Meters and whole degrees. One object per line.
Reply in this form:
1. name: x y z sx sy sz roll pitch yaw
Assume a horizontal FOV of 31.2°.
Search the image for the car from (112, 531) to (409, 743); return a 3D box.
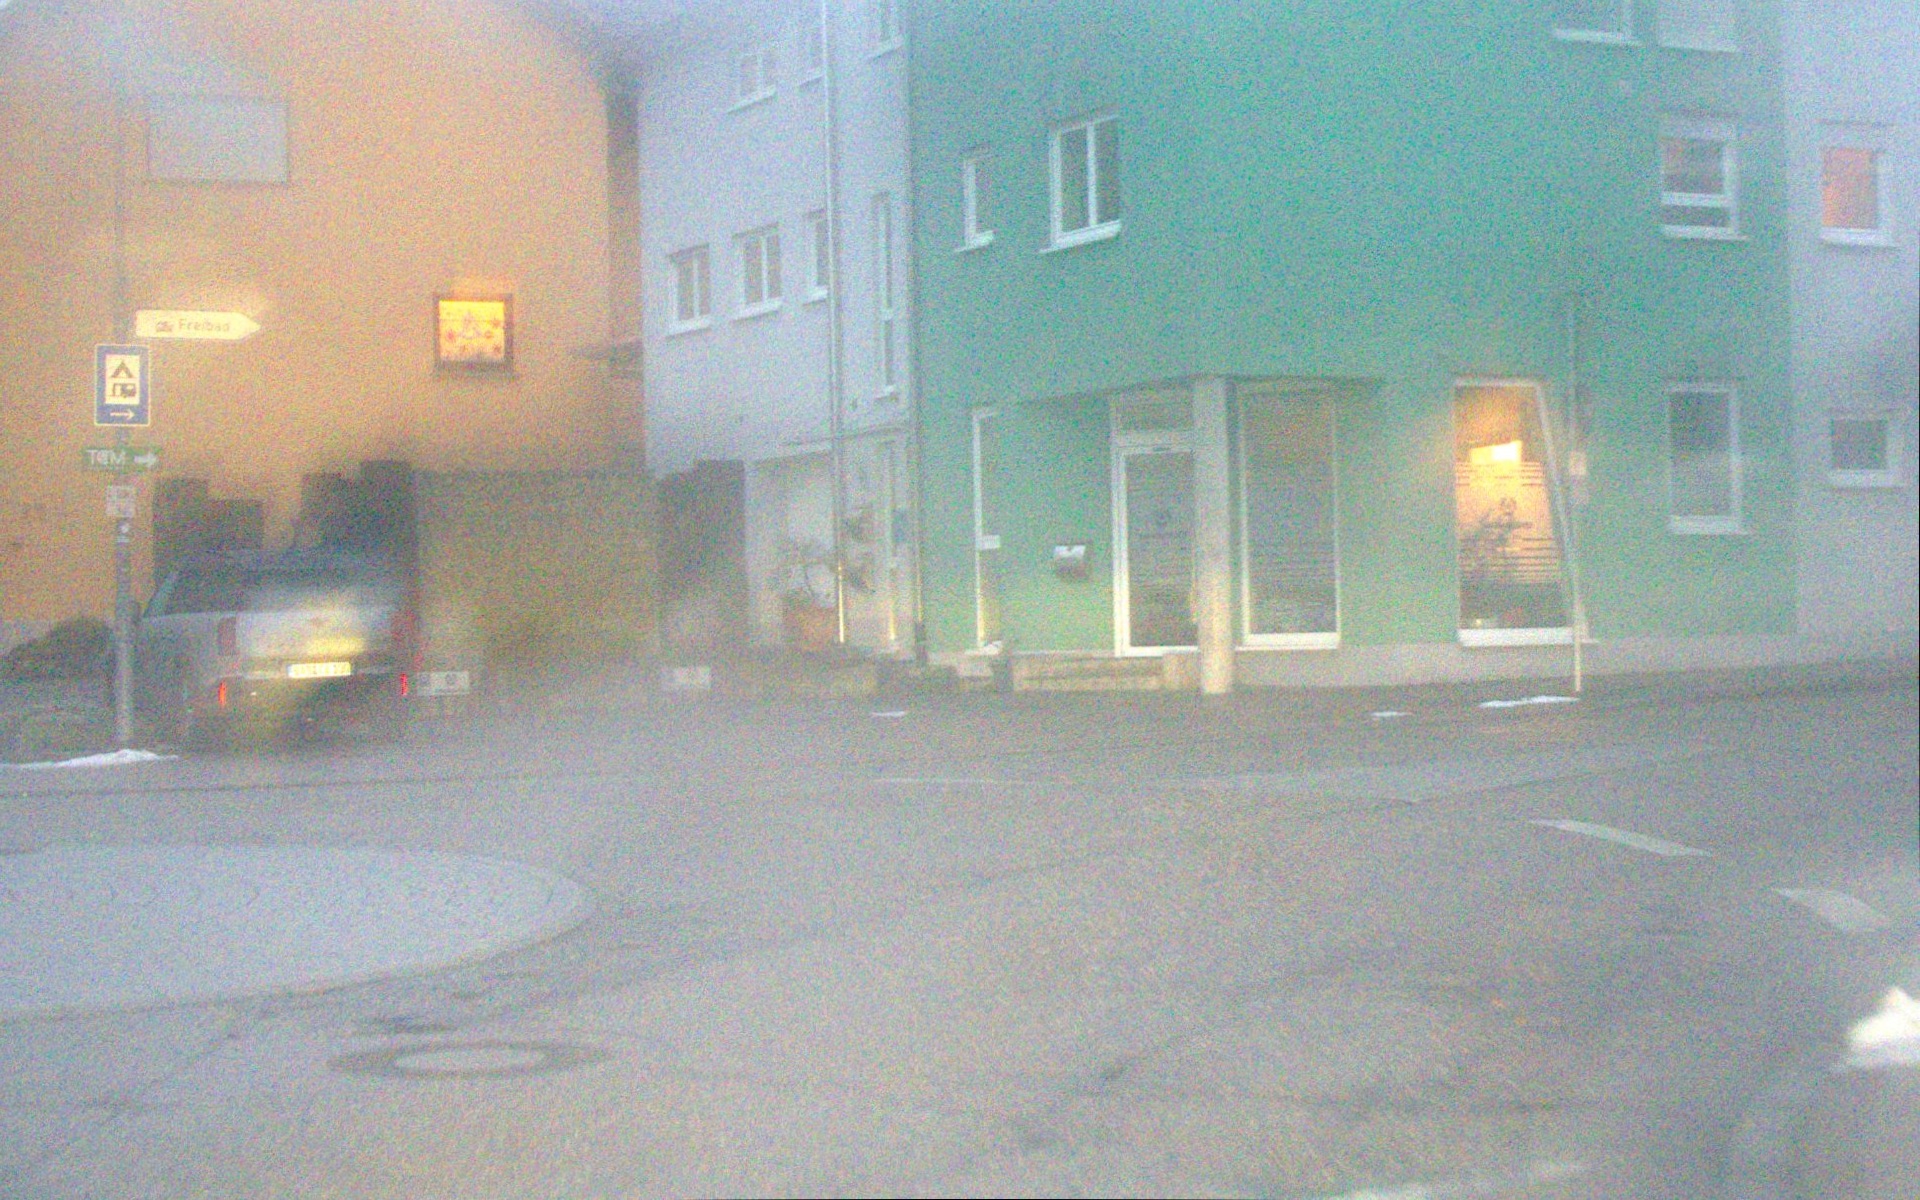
1. car: -6.023 0.249 29.280 1.993 1.638 4.001 -1 2 -18
